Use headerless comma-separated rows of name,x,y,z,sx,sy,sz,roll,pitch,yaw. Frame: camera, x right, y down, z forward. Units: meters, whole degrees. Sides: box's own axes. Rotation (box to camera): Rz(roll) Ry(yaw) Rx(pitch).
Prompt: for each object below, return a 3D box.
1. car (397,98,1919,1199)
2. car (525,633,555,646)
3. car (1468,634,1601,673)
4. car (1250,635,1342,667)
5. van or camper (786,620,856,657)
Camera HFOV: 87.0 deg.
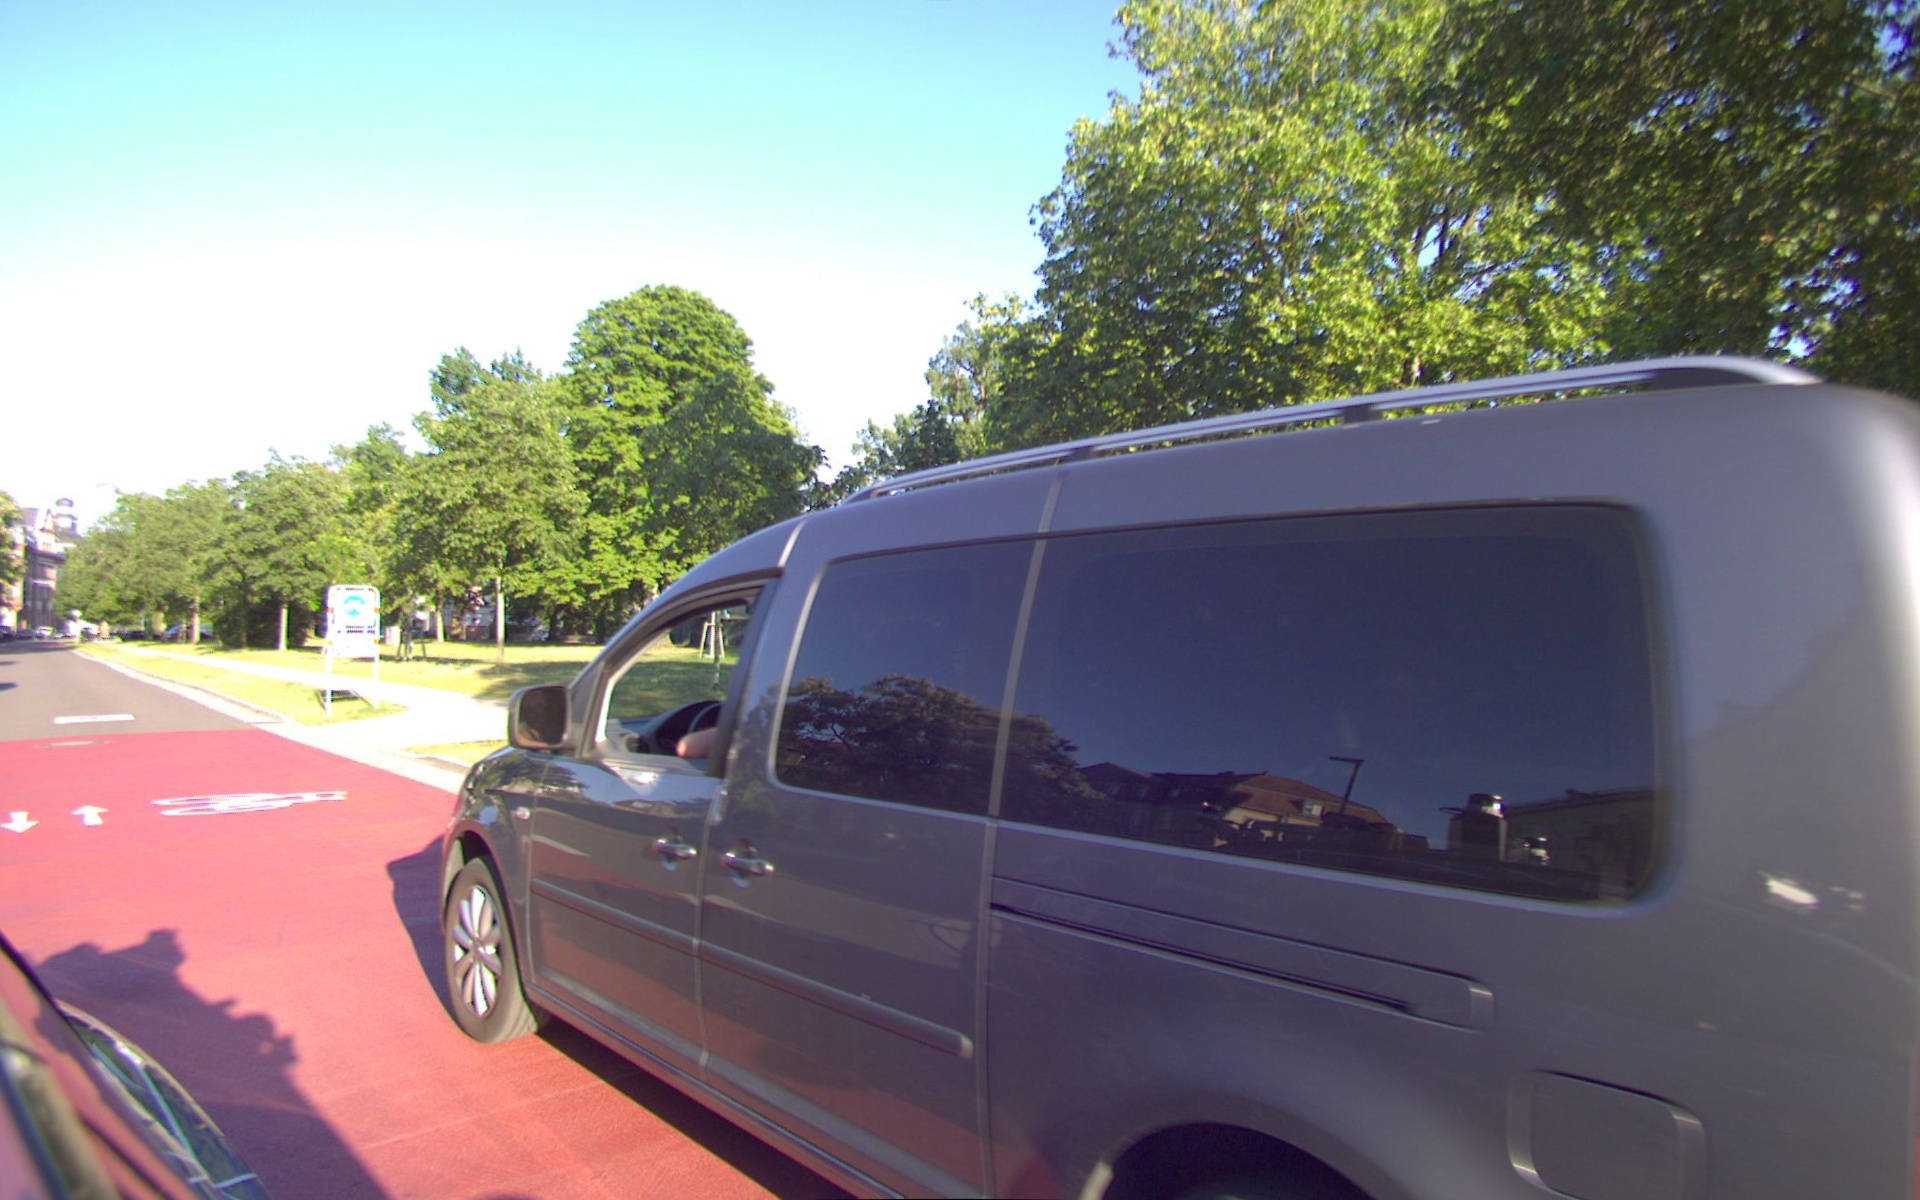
car,0.089,0.556,2.947,1.822,1.861,4.576,4,-4,-44
car,-46.481,4.372,111.890,1.771,1.475,4.003,1,-2,-44
car,21.755,1.992,38.431,1.504,1.378,4.111,1,-3,-43
car,15.176,2.288,45.804,1.504,1.378,3.652,1,-3,-44
van or camper,-10.044,2.763,72.841,1.971,2.457,5.470,-2,0,-45
